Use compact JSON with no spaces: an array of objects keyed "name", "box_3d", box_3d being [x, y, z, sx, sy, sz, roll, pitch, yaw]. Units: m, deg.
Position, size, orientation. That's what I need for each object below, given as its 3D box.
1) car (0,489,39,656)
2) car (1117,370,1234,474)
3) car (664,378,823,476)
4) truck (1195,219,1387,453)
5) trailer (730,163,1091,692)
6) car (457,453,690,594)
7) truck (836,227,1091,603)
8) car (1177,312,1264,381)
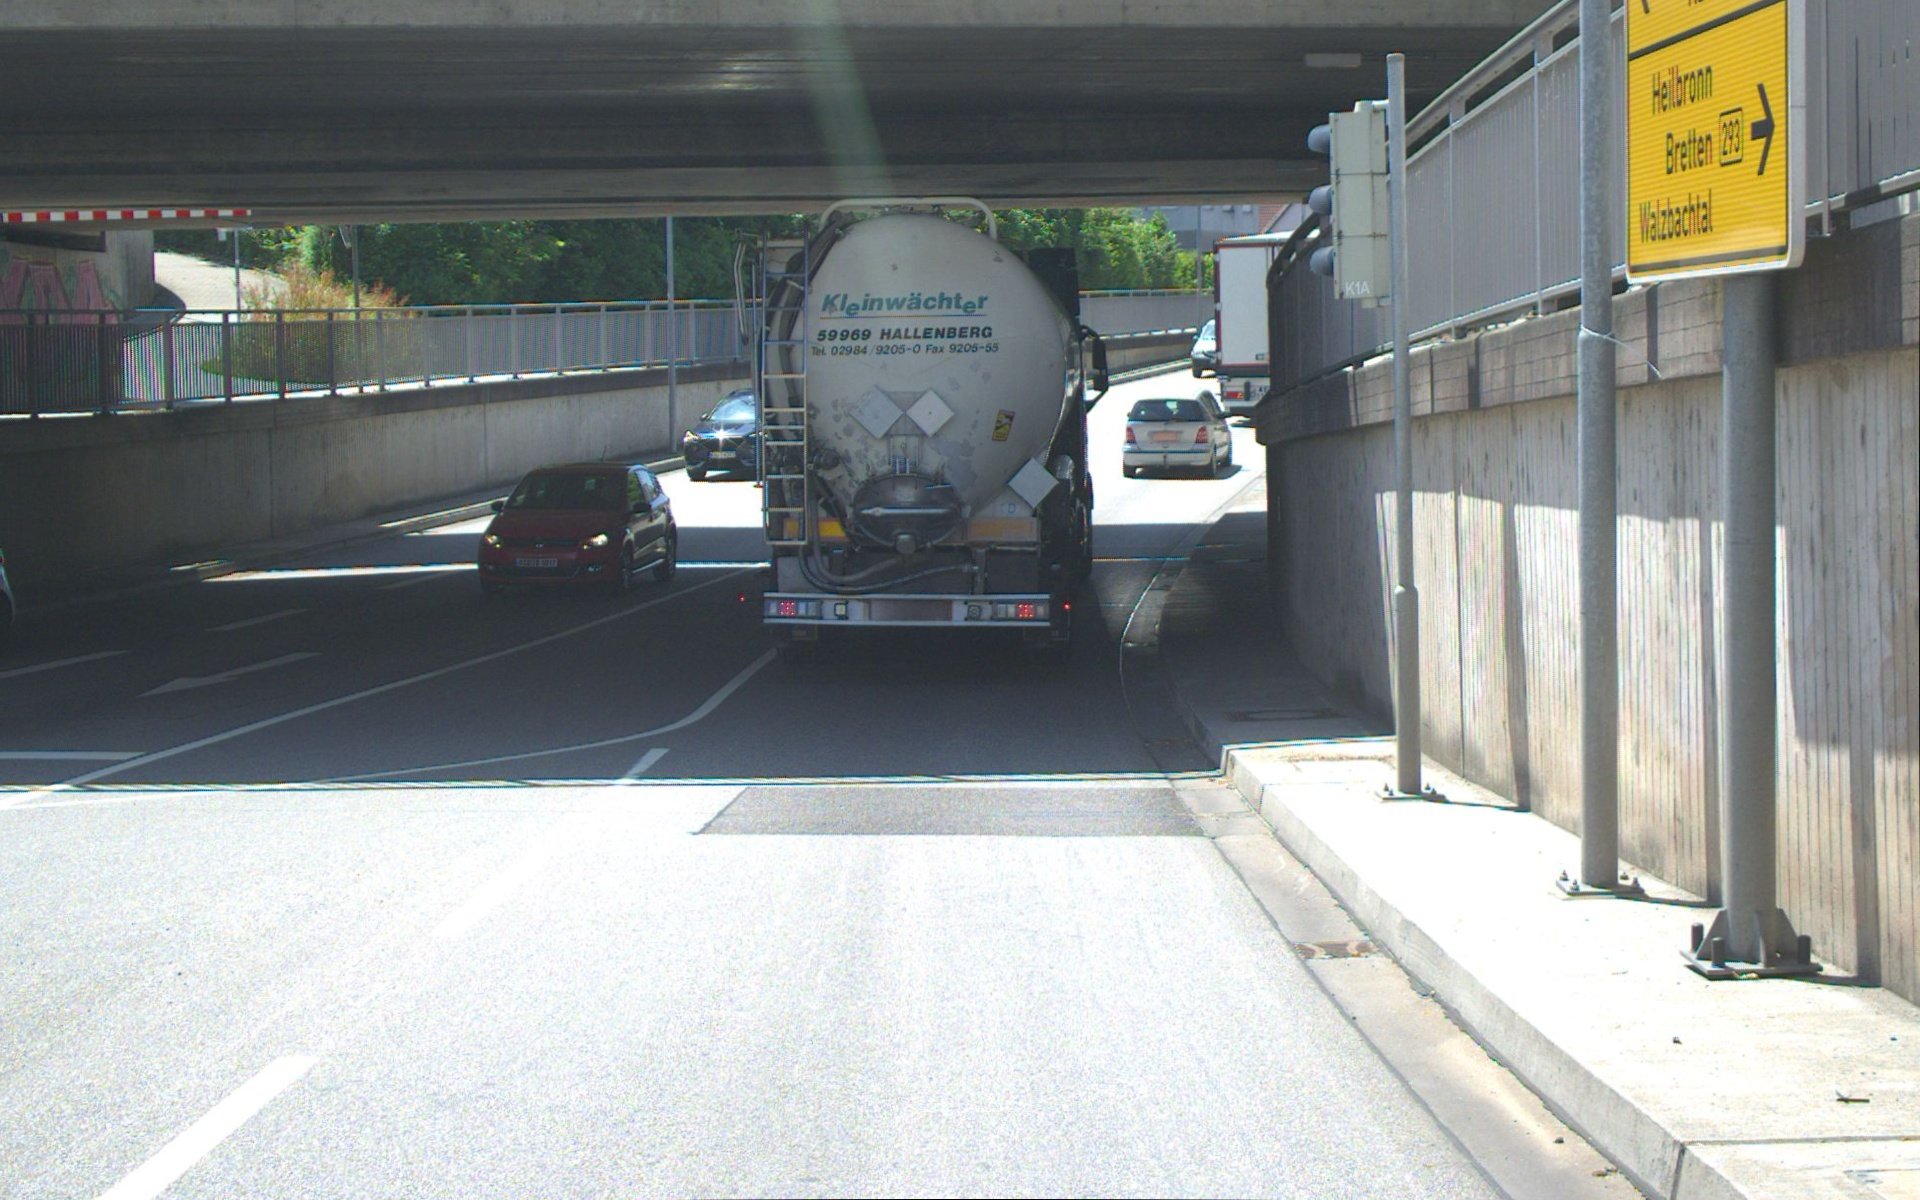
[{"name":"car","box_3d":[-9.702,-0.126,29.605,1.781,1.461,3.831,-2,3,13]},{"name":"car","box_3d":[3.961,-3.278,62.733,1.882,1.633,4.001,0,7,7]},{"name":"car","box_3d":[-3.932,-3.202,63.092,1.899,1.524,4.000,-2,5,11]},{"name":"truck","box_3d":[7.667,-6.106,78.447,3.082,4.981,10.080,1,5,13]},{"name":"trailer","box_3d":[-0.125,-1.724,33.082,2.735,4.049,13.314,0,4,2]},{"name":"car","box_3d":[-4.432,-0.925,39.943,1.743,1.459,3.824,0,4,8]},{"name":"truck","box_3d":[0.153,-2.196,40.452,2.735,4.050,6.530,0,3,2]},{"name":"car","box_3d":[7.250,-7.063,95.491,1.793,1.677,3.999,2,7,13]}]
